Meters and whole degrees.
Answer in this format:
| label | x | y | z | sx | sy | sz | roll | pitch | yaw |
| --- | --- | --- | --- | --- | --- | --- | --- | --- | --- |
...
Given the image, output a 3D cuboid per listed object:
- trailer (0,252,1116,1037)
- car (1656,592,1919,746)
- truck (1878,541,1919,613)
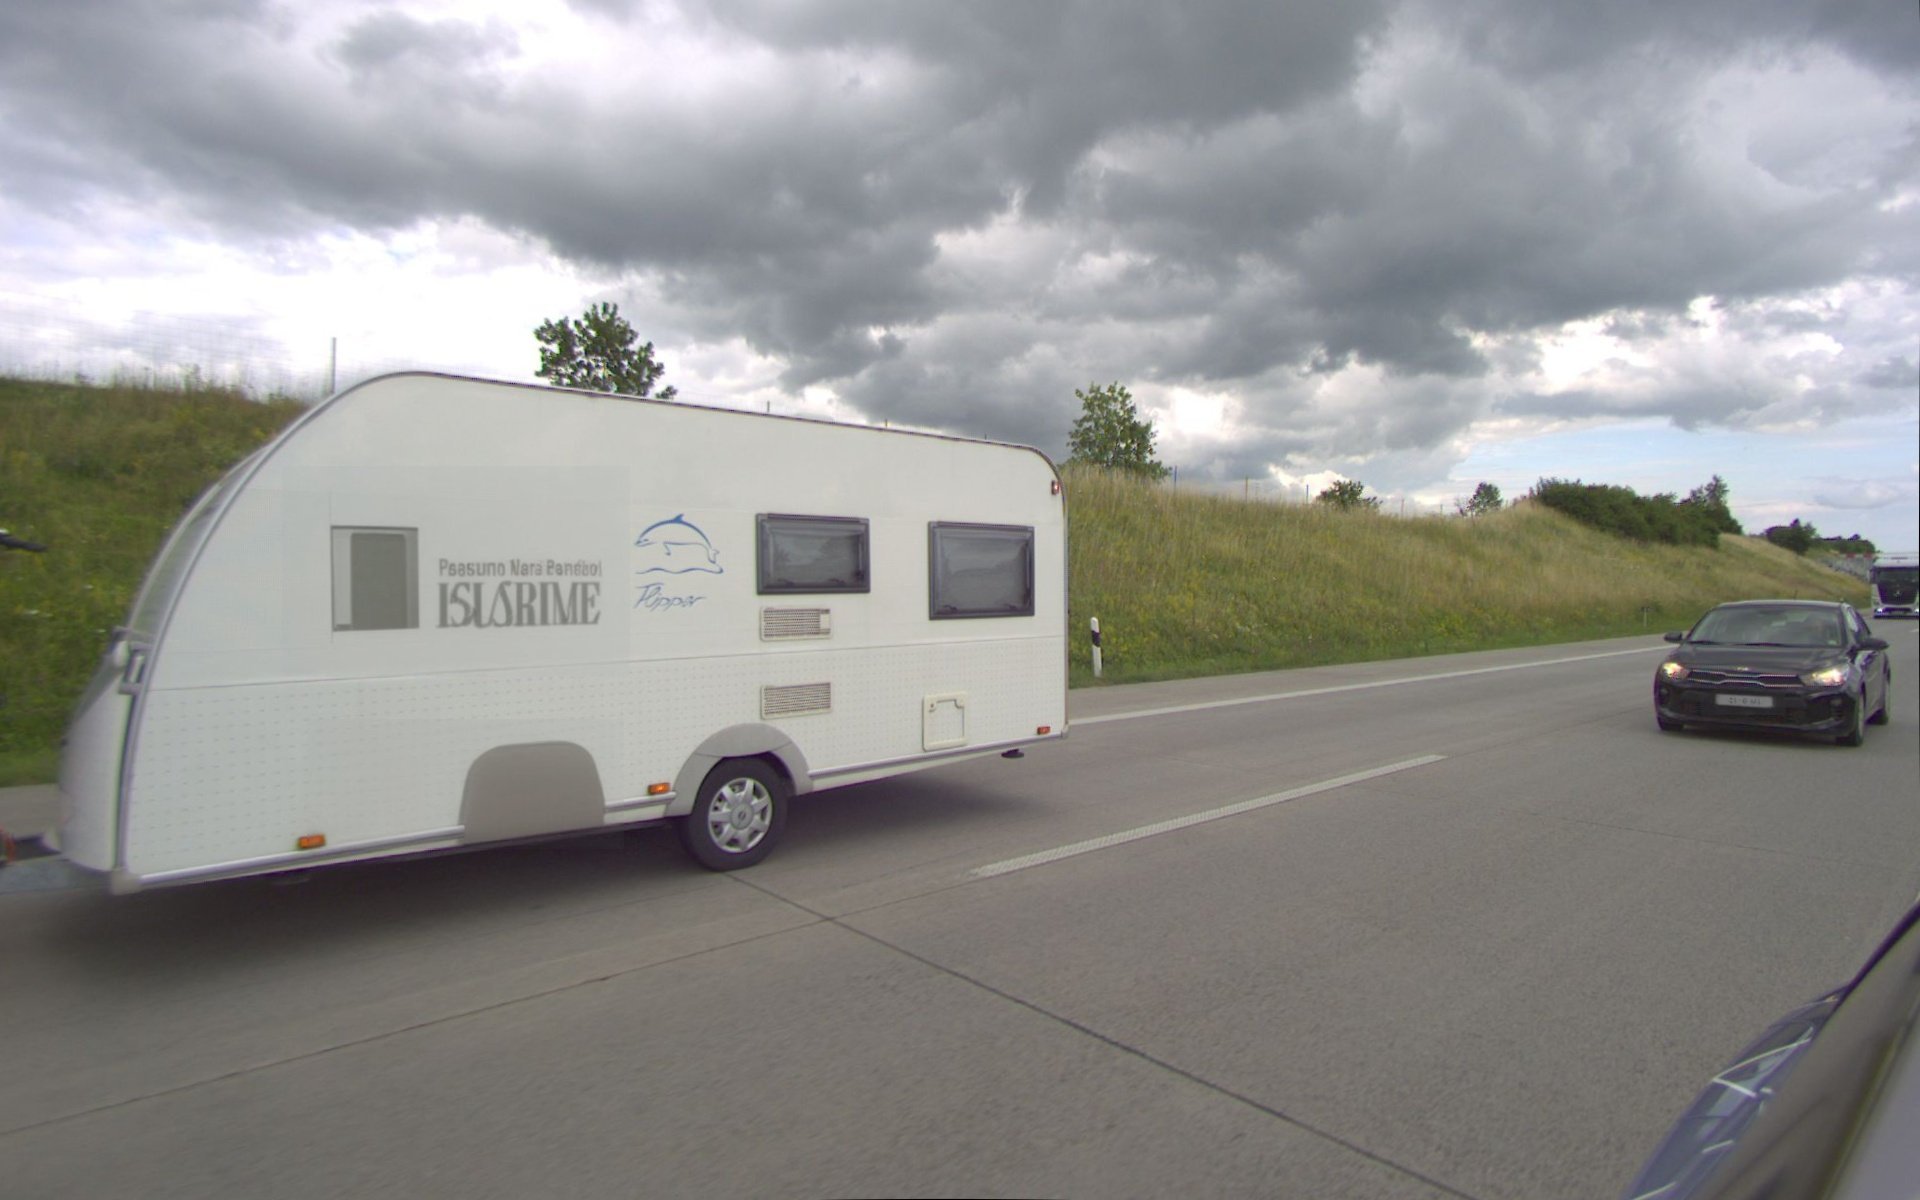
| label | x | y | z | sx | sy | sz | roll | pitch | yaw |
| --- | --- | --- | --- | --- | --- | --- | --- | --- | --- |
| trailer | -2.170 | 0.107 | 5.988 | 6.608 | 2.566 | 2.611 | -1 | 1 | -43 |
| car | 9.531 | 0.642 | 11.533 | 3.930 | 1.431 | 1.690 | -1 | 1 | -41 |
| truck | 60.231 | -1.353 | 63.442 | 10.525 | 4.253 | 2.851 | 0 | 0 | -42 |
